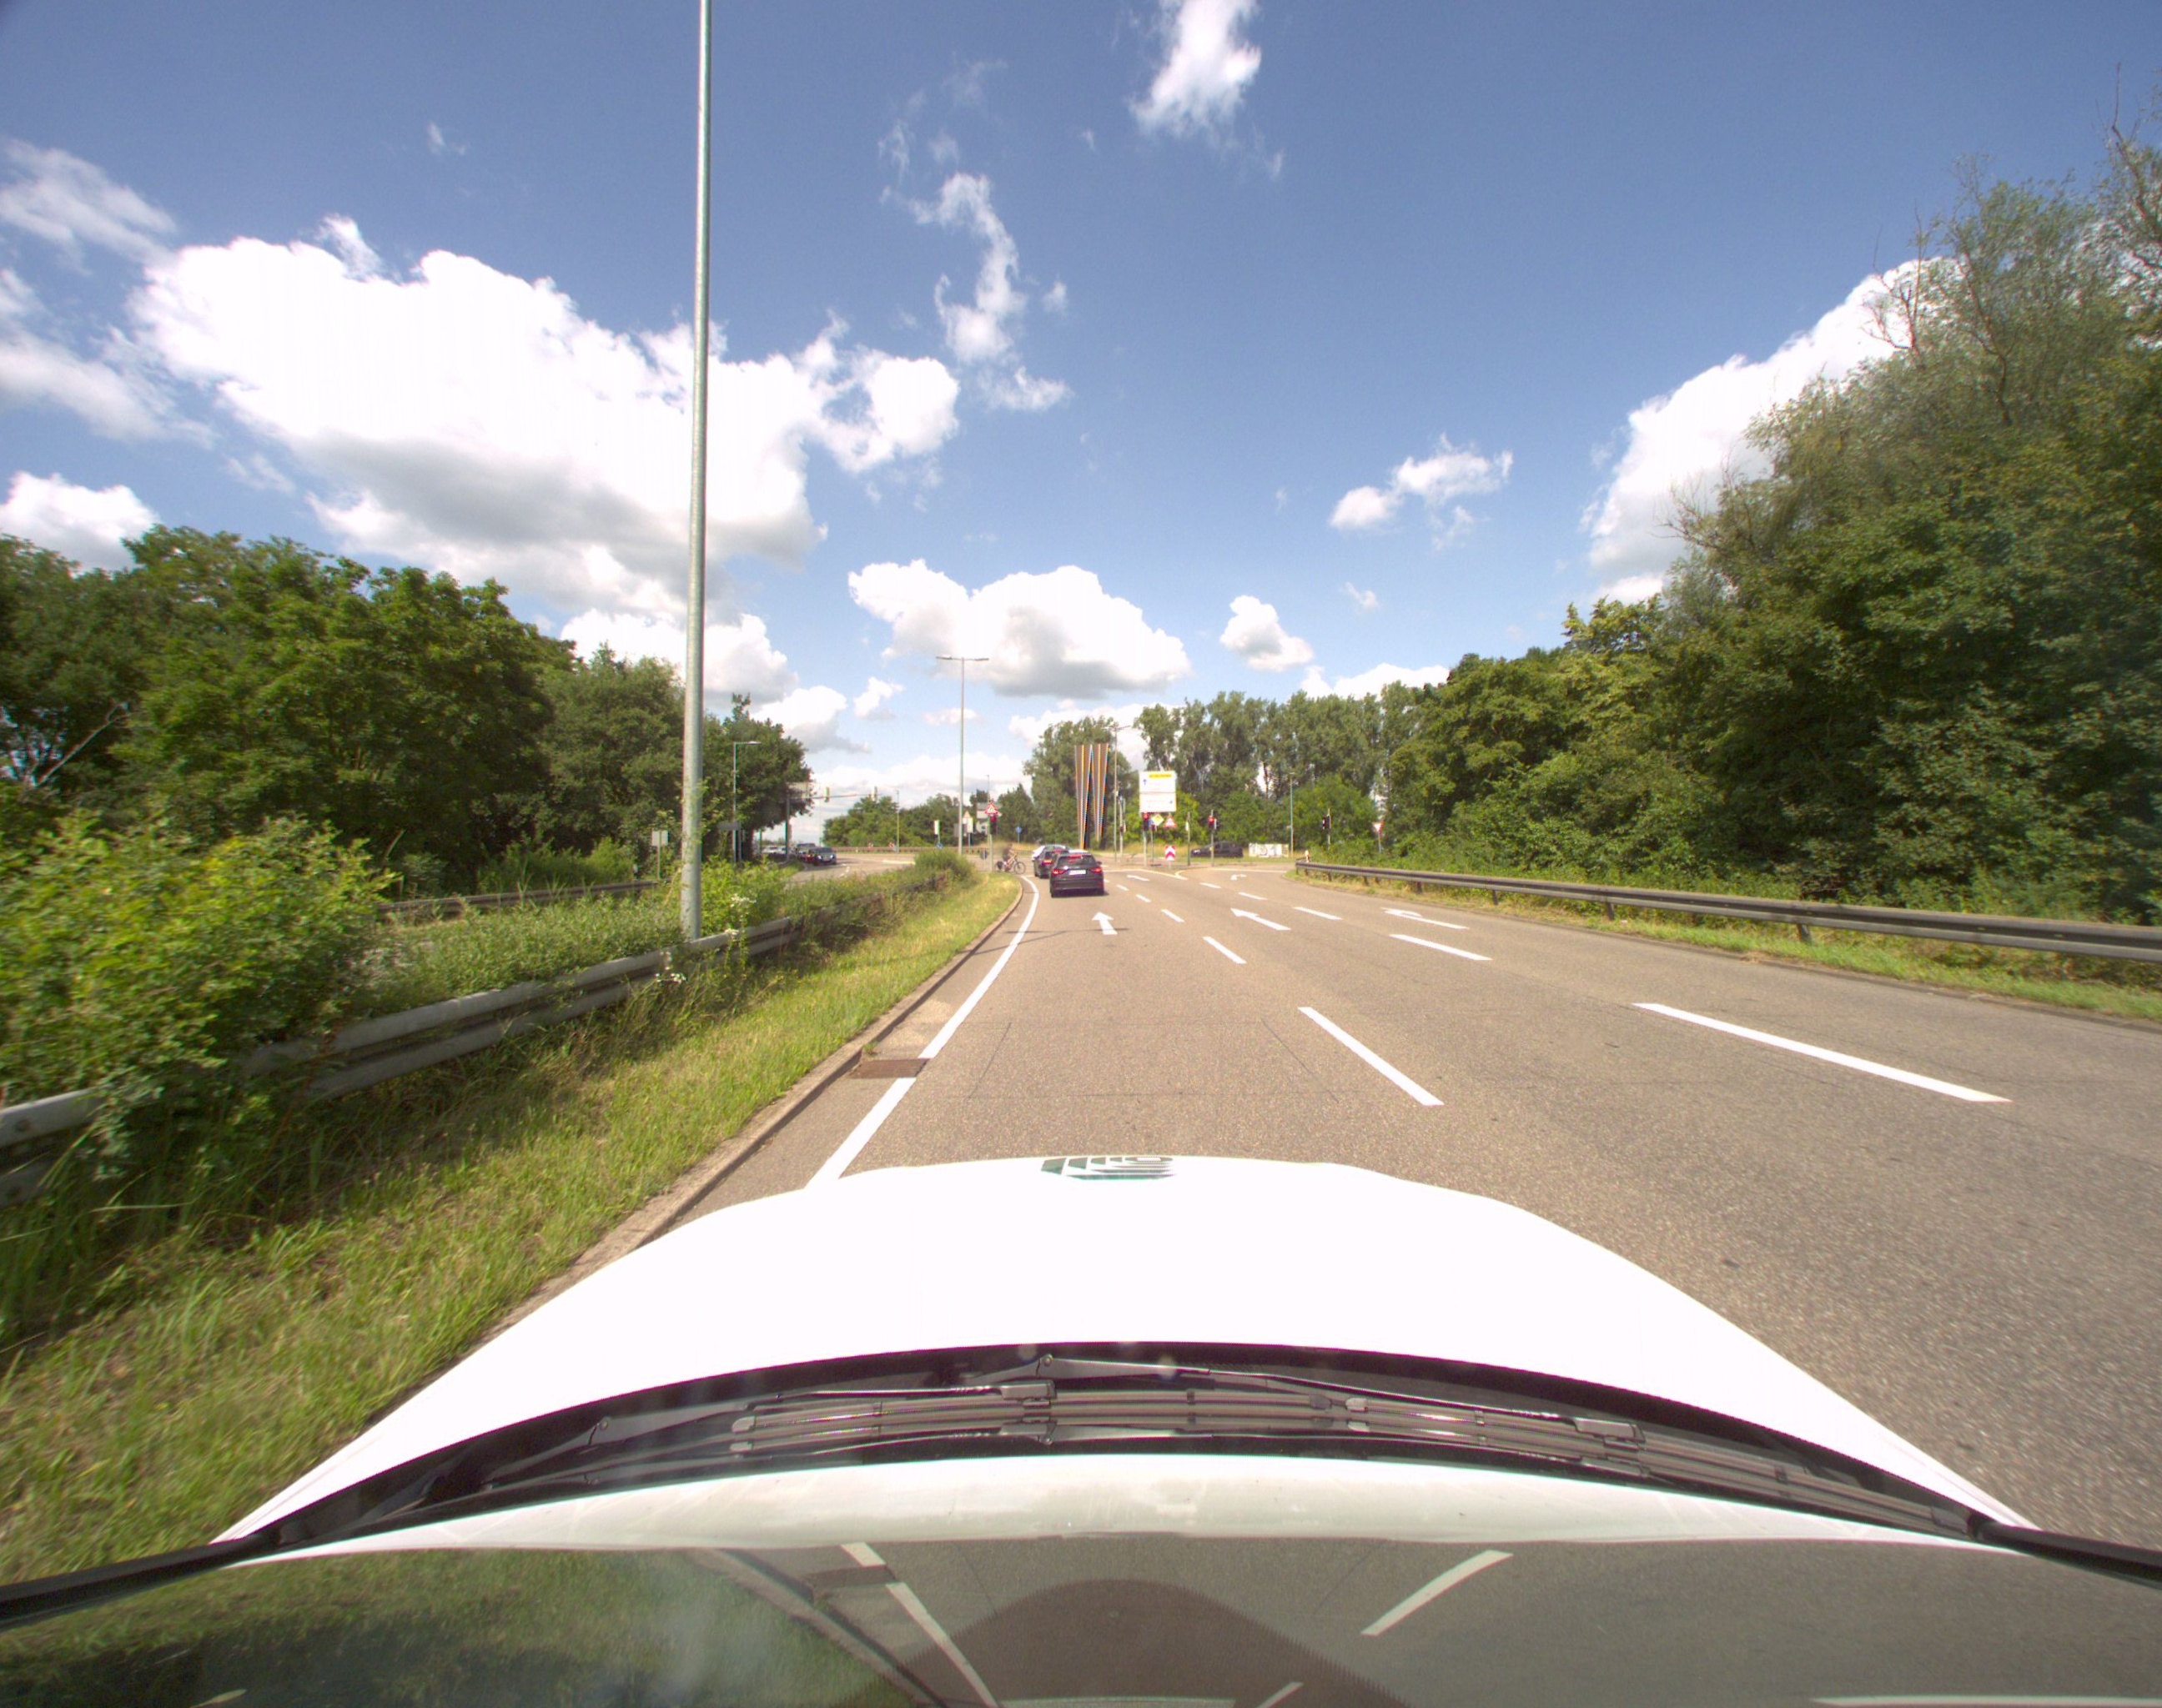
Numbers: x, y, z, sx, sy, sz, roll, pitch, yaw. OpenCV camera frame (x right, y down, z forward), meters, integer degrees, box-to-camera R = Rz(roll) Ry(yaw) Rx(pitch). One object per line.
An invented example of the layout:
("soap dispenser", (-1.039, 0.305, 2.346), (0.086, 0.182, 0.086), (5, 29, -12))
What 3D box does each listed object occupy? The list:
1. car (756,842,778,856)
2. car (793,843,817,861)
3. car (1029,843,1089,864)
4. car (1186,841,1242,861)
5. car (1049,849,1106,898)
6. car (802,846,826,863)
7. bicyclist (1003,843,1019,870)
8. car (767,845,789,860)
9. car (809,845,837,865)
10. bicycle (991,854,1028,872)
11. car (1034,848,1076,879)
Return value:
("car", (-40.097, -0.594, 103.957), (1.856, 1.705, 4.283), (-1, 1, -32))
("car", (-28.464, -0.237, 83.925), (1.852, 1.802, 4.292), (-1, 1, -24))
("car", (-1.565, -0.018, 58.651), (4.009, 1.476, 1.742), (-1, 0, 10))
("car", (10.912, -0.279, 66.856), (4.260, 1.545, 1.734), (-1, 0, -5))
("car", (-0.175, 0.600, 27.363), (1.722, 1.404, 3.997), (-3, 1, -2))
("car", (-25.563, 0.030, 77.794), (1.739, 1.476, 4.014), (-1, 1, -24))
("bicyclist", (-4.043, 0.135, 47.076), (0.835, 1.560, 0.669), (-1, 0, -13))
("car", (-36.304, -0.182, 97.471), (1.854, 1.705, 4.286), (-1, 1, -29))
("car", (-22.359, 0.107, 70.448), (1.847, 1.618, 3.968), (-1, -1, -24))
("bicycle", (-4.152, 0.513, 47.047), (2.055, 1.023, 0.669), (-1, 0, -13))
("car", (-1.378, 0.436, 41.424), (1.725, 1.423, 3.835), (-3, 1, -7))
